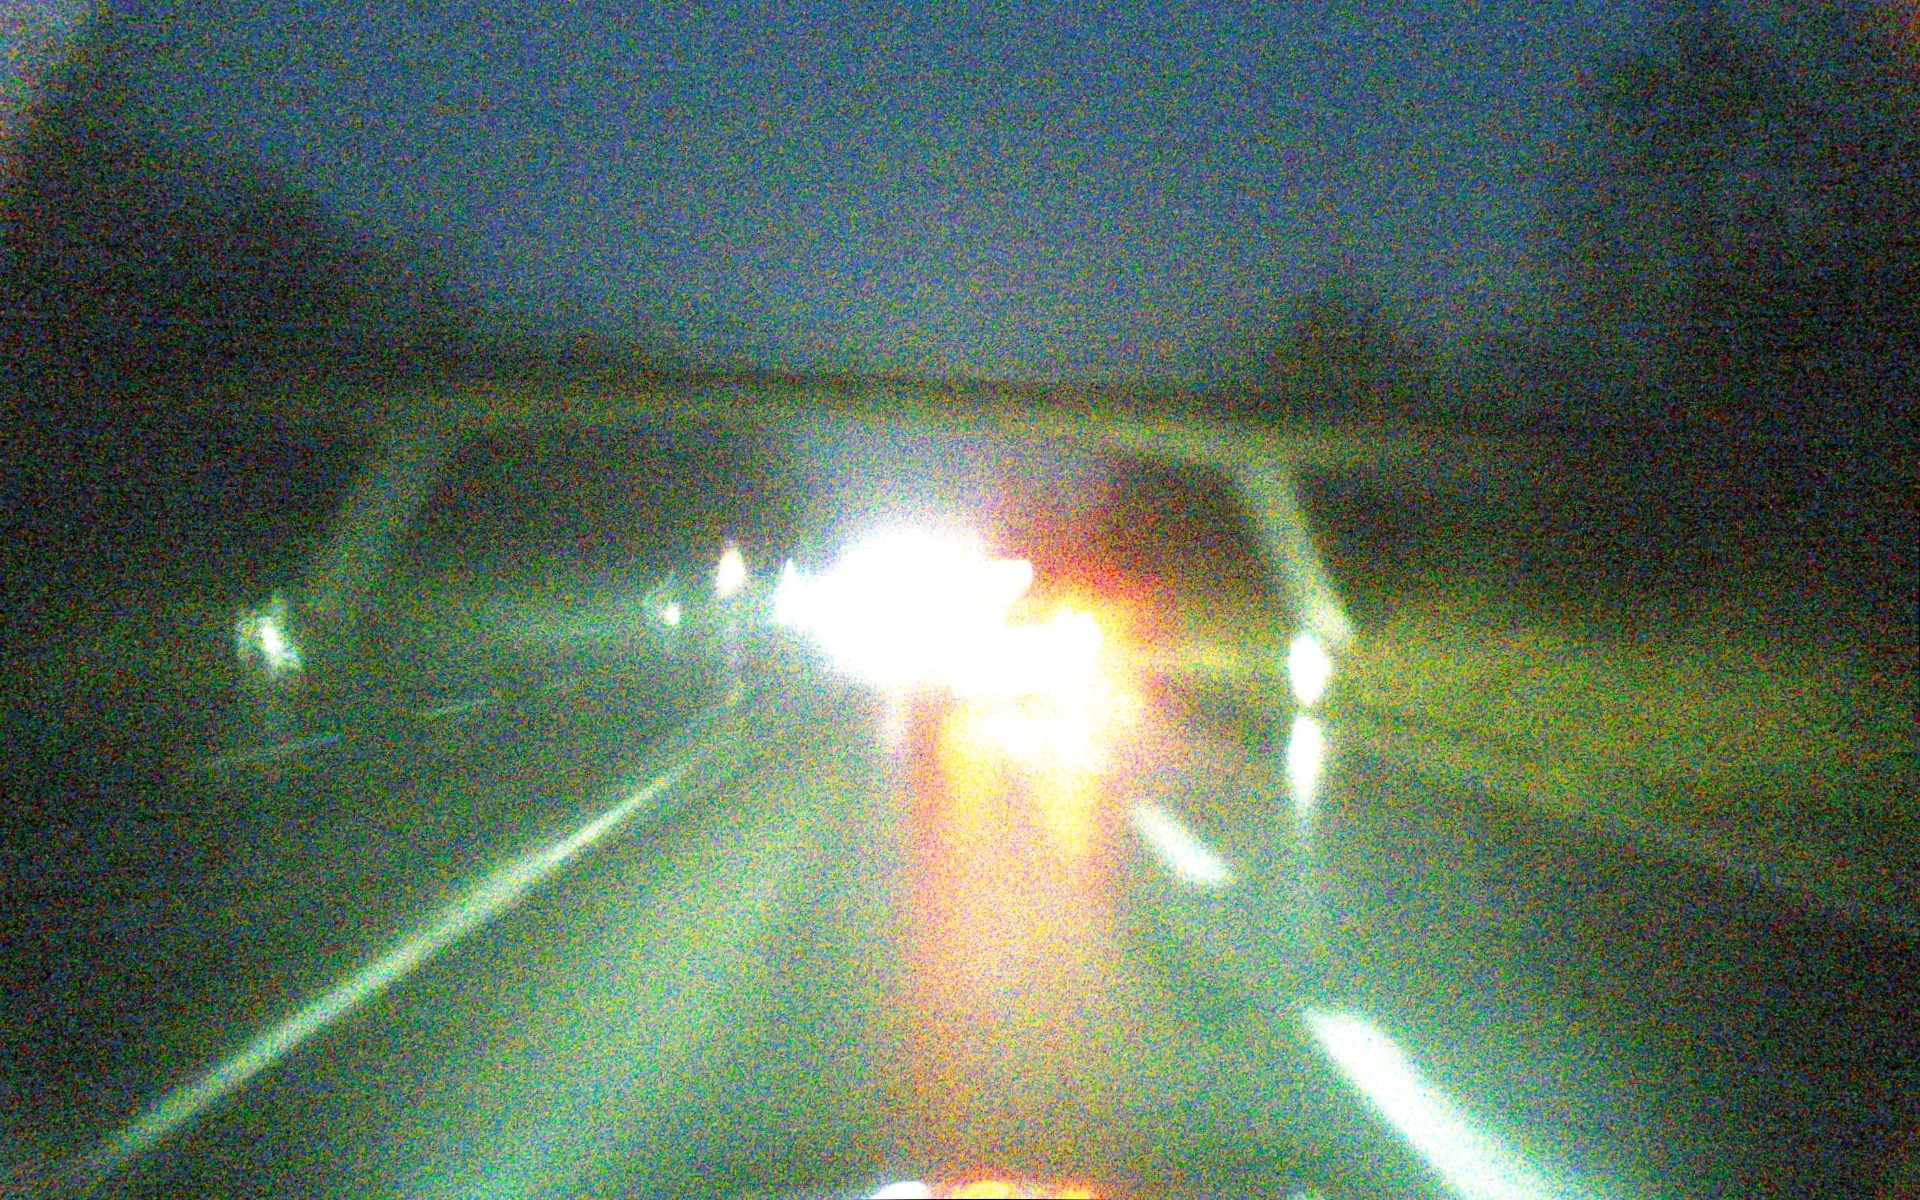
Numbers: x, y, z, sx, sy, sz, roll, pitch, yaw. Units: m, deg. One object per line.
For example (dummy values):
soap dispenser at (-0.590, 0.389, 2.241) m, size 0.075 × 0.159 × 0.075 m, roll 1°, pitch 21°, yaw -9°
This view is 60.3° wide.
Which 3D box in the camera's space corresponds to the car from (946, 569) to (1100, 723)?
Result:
car at (0.833, 0.616, 24.399) m, size 2.050 × 2.049 × 3.999 m, roll 1°, pitch 0°, yaw -1°

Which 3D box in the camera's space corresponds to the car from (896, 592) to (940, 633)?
car at (-1.764, 0.509, 68.867) m, size 1.772 × 1.650 × 3.999 m, roll 0°, pitch 0°, yaw -2°
